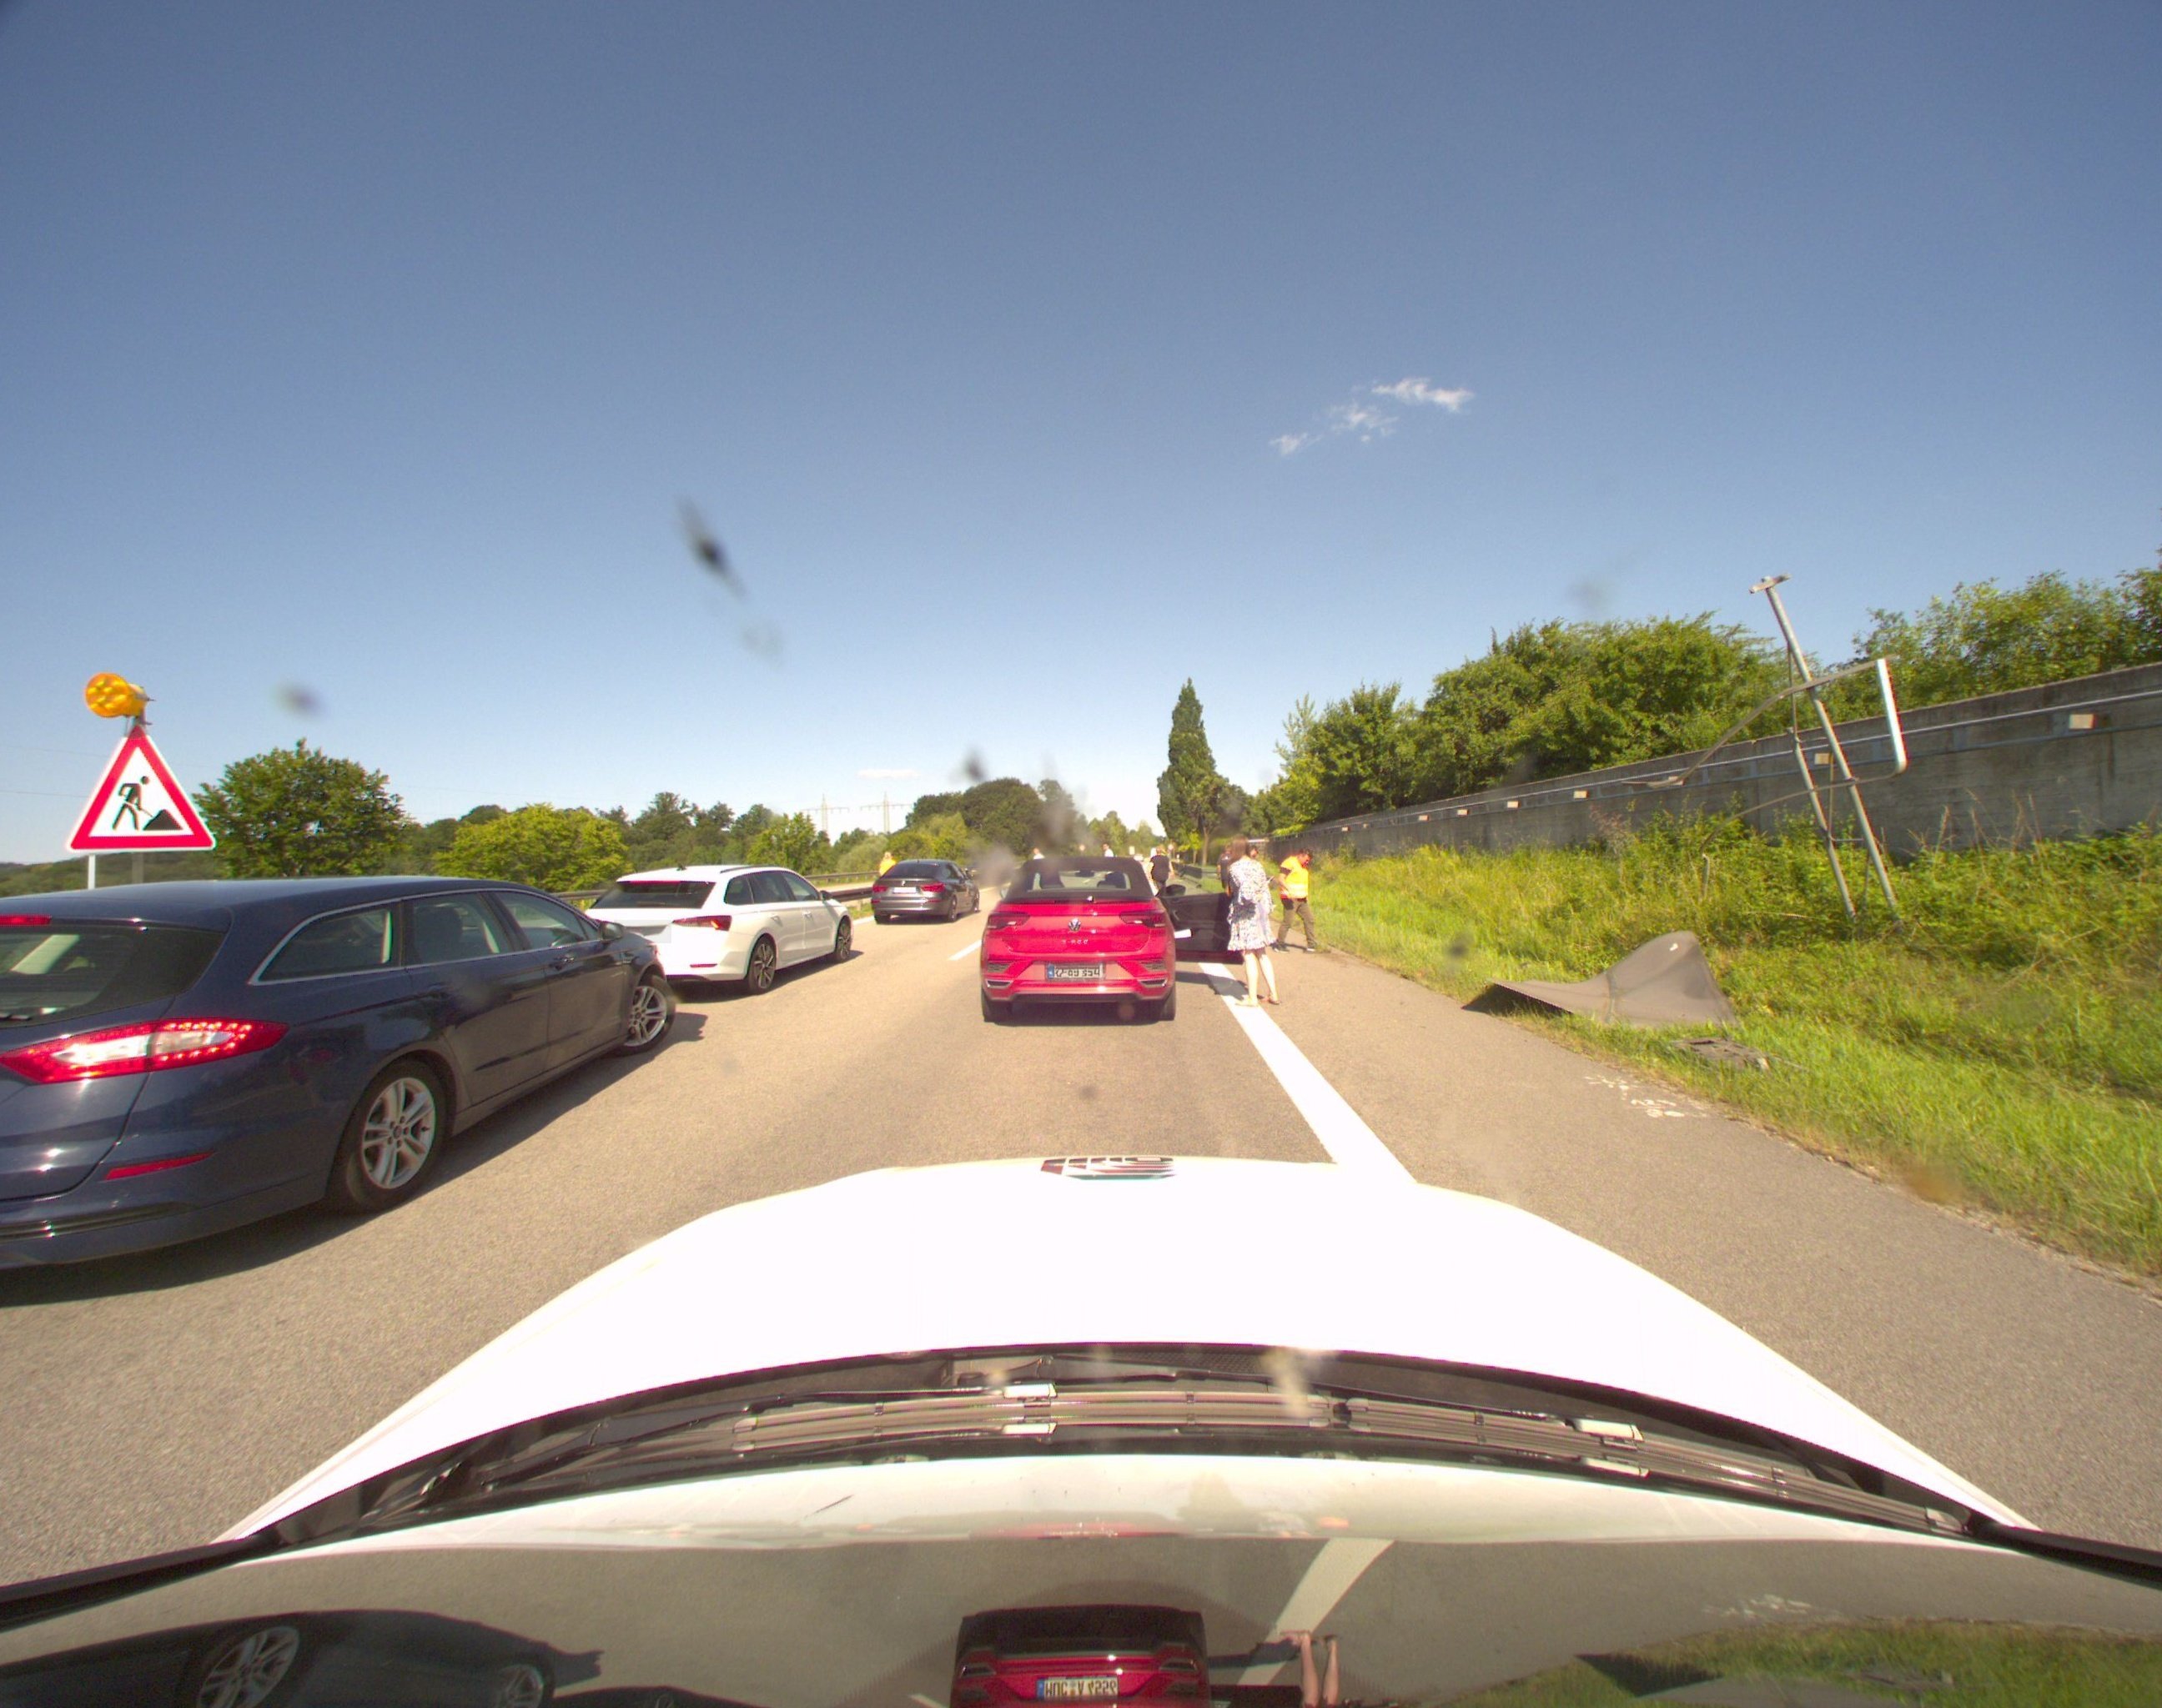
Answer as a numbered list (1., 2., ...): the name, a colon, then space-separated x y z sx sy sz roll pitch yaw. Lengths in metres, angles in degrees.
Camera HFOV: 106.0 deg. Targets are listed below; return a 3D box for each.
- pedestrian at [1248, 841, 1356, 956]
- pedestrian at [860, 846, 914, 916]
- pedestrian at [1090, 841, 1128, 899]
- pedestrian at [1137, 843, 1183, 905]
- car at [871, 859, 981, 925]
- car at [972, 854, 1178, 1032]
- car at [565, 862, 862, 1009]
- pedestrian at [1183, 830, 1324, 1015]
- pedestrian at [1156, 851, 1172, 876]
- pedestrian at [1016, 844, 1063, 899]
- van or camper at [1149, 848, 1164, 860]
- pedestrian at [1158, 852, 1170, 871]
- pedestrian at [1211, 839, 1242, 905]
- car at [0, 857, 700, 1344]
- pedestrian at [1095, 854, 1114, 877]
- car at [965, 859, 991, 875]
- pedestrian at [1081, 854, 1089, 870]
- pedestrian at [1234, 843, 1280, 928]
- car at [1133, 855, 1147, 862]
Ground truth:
1. pedestrian: 3.399 0.654 12.622 0.963 1.653 1.267 -2 0 -27
2. pedestrian: -5.117 0.701 21.538 1.035 1.763 1.120 -2 0 5
3. pedestrian: 0.940 0.535 27.778 1.104 1.912 1.255 -2 0 -5
4. pedestrian: 2.473 0.615 25.522 1.091 1.883 1.064 -2 0 -13
5. car: -3.685 0.847 20.140 1.688 1.426 4.337 -1 0 3
6. car: 0.050 0.754 8.990 1.725 1.487 4.213 -1 0 3
7. car: -4.296 0.847 10.355 1.688 1.441 4.213 -1 0 3
8. pedestrian: 1.717 0.637 8.249 0.893 1.695 1.121 -2 0 -20
9. pedestrian: 5.699 0.655 56.004 1.049 1.689 1.020 -1 -1 9
10. pedestrian: -1.396 0.568 27.265 1.093 1.789 1.098 -1 -1 41
11. van or camper: 14.882 -0.049 160.858 1.977 2.316 4.491 -1 -1 19
12. pedestrian: 7.332 0.667 71.895 0.991 1.689 1.012 0 -1 6
13. pedestrian: 3.985 0.492 22.313 0.807 1.759 0.830 0 -1 9
14. car: -3.986 0.825 4.720 1.786 1.493 4.483 -2 -1 -6
15. pedestrian: 1.723 0.835 59.628 0.961 1.689 1.123 -1 -1 24
16. car: -9.911 1.248 78.670 1.705 1.425 4.410 -1 0 3
17. pedestrian: 0.409 0.836 86.272 0.787 1.689 0.794 -1 -1 7
18. pedestrian: 3.640 0.646 16.933 0.889 1.725 0.756 -1 -1 9
19. car: 11.780 0.862 162.061 1.718 1.487 4.231 -1 0 19
